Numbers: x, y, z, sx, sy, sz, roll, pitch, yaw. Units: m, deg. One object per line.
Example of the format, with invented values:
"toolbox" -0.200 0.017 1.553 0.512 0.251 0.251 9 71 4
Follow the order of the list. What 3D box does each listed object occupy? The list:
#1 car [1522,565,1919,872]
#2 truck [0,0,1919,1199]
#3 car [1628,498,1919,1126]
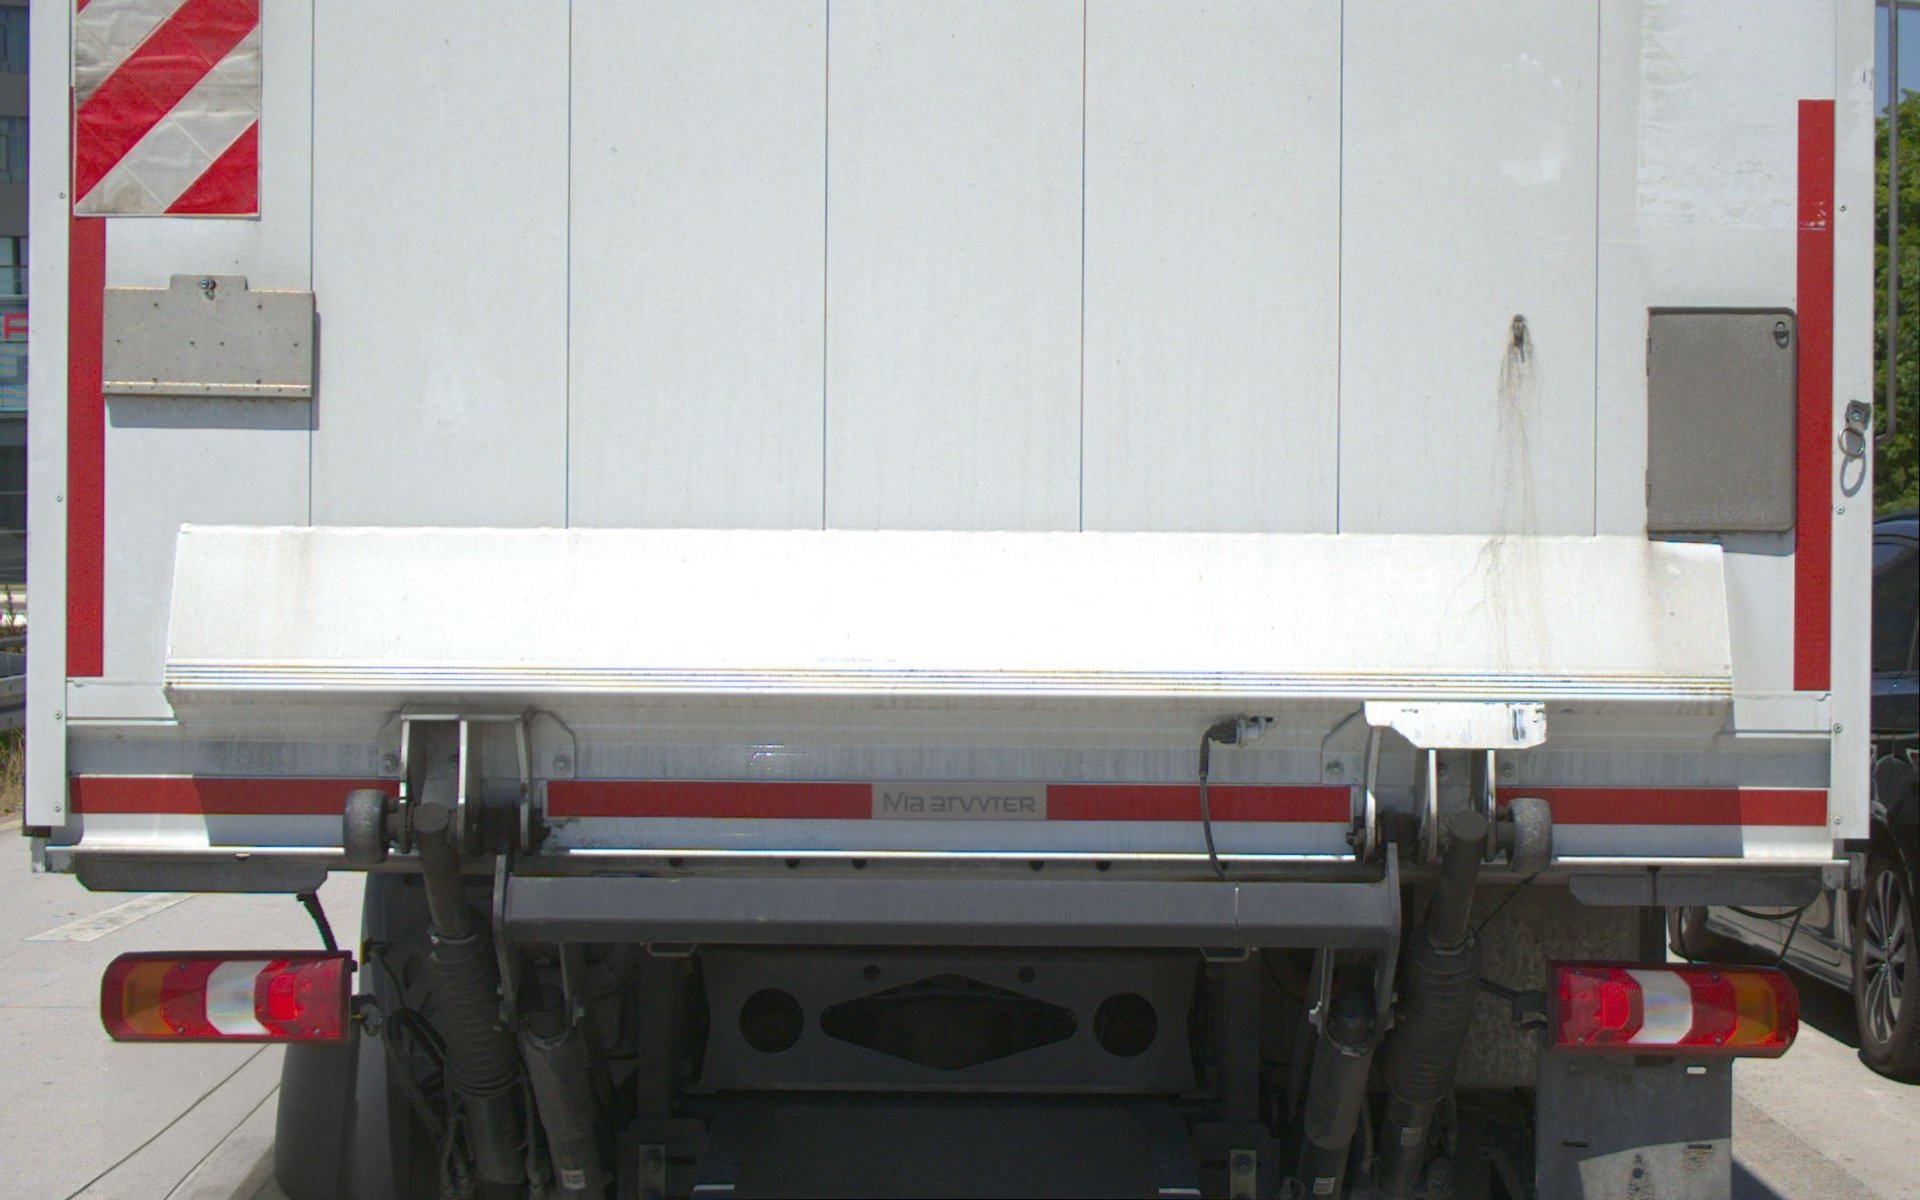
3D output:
"car" 4.171 0.533 18.256 1.768 1.405 4.609 1 1 2
"truck" -0.008 -0.550 9.170 2.769 3.846 9.371 1 1 -1
"car" 3.456 0.543 11.085 1.784 1.634 4.647 1 1 1
